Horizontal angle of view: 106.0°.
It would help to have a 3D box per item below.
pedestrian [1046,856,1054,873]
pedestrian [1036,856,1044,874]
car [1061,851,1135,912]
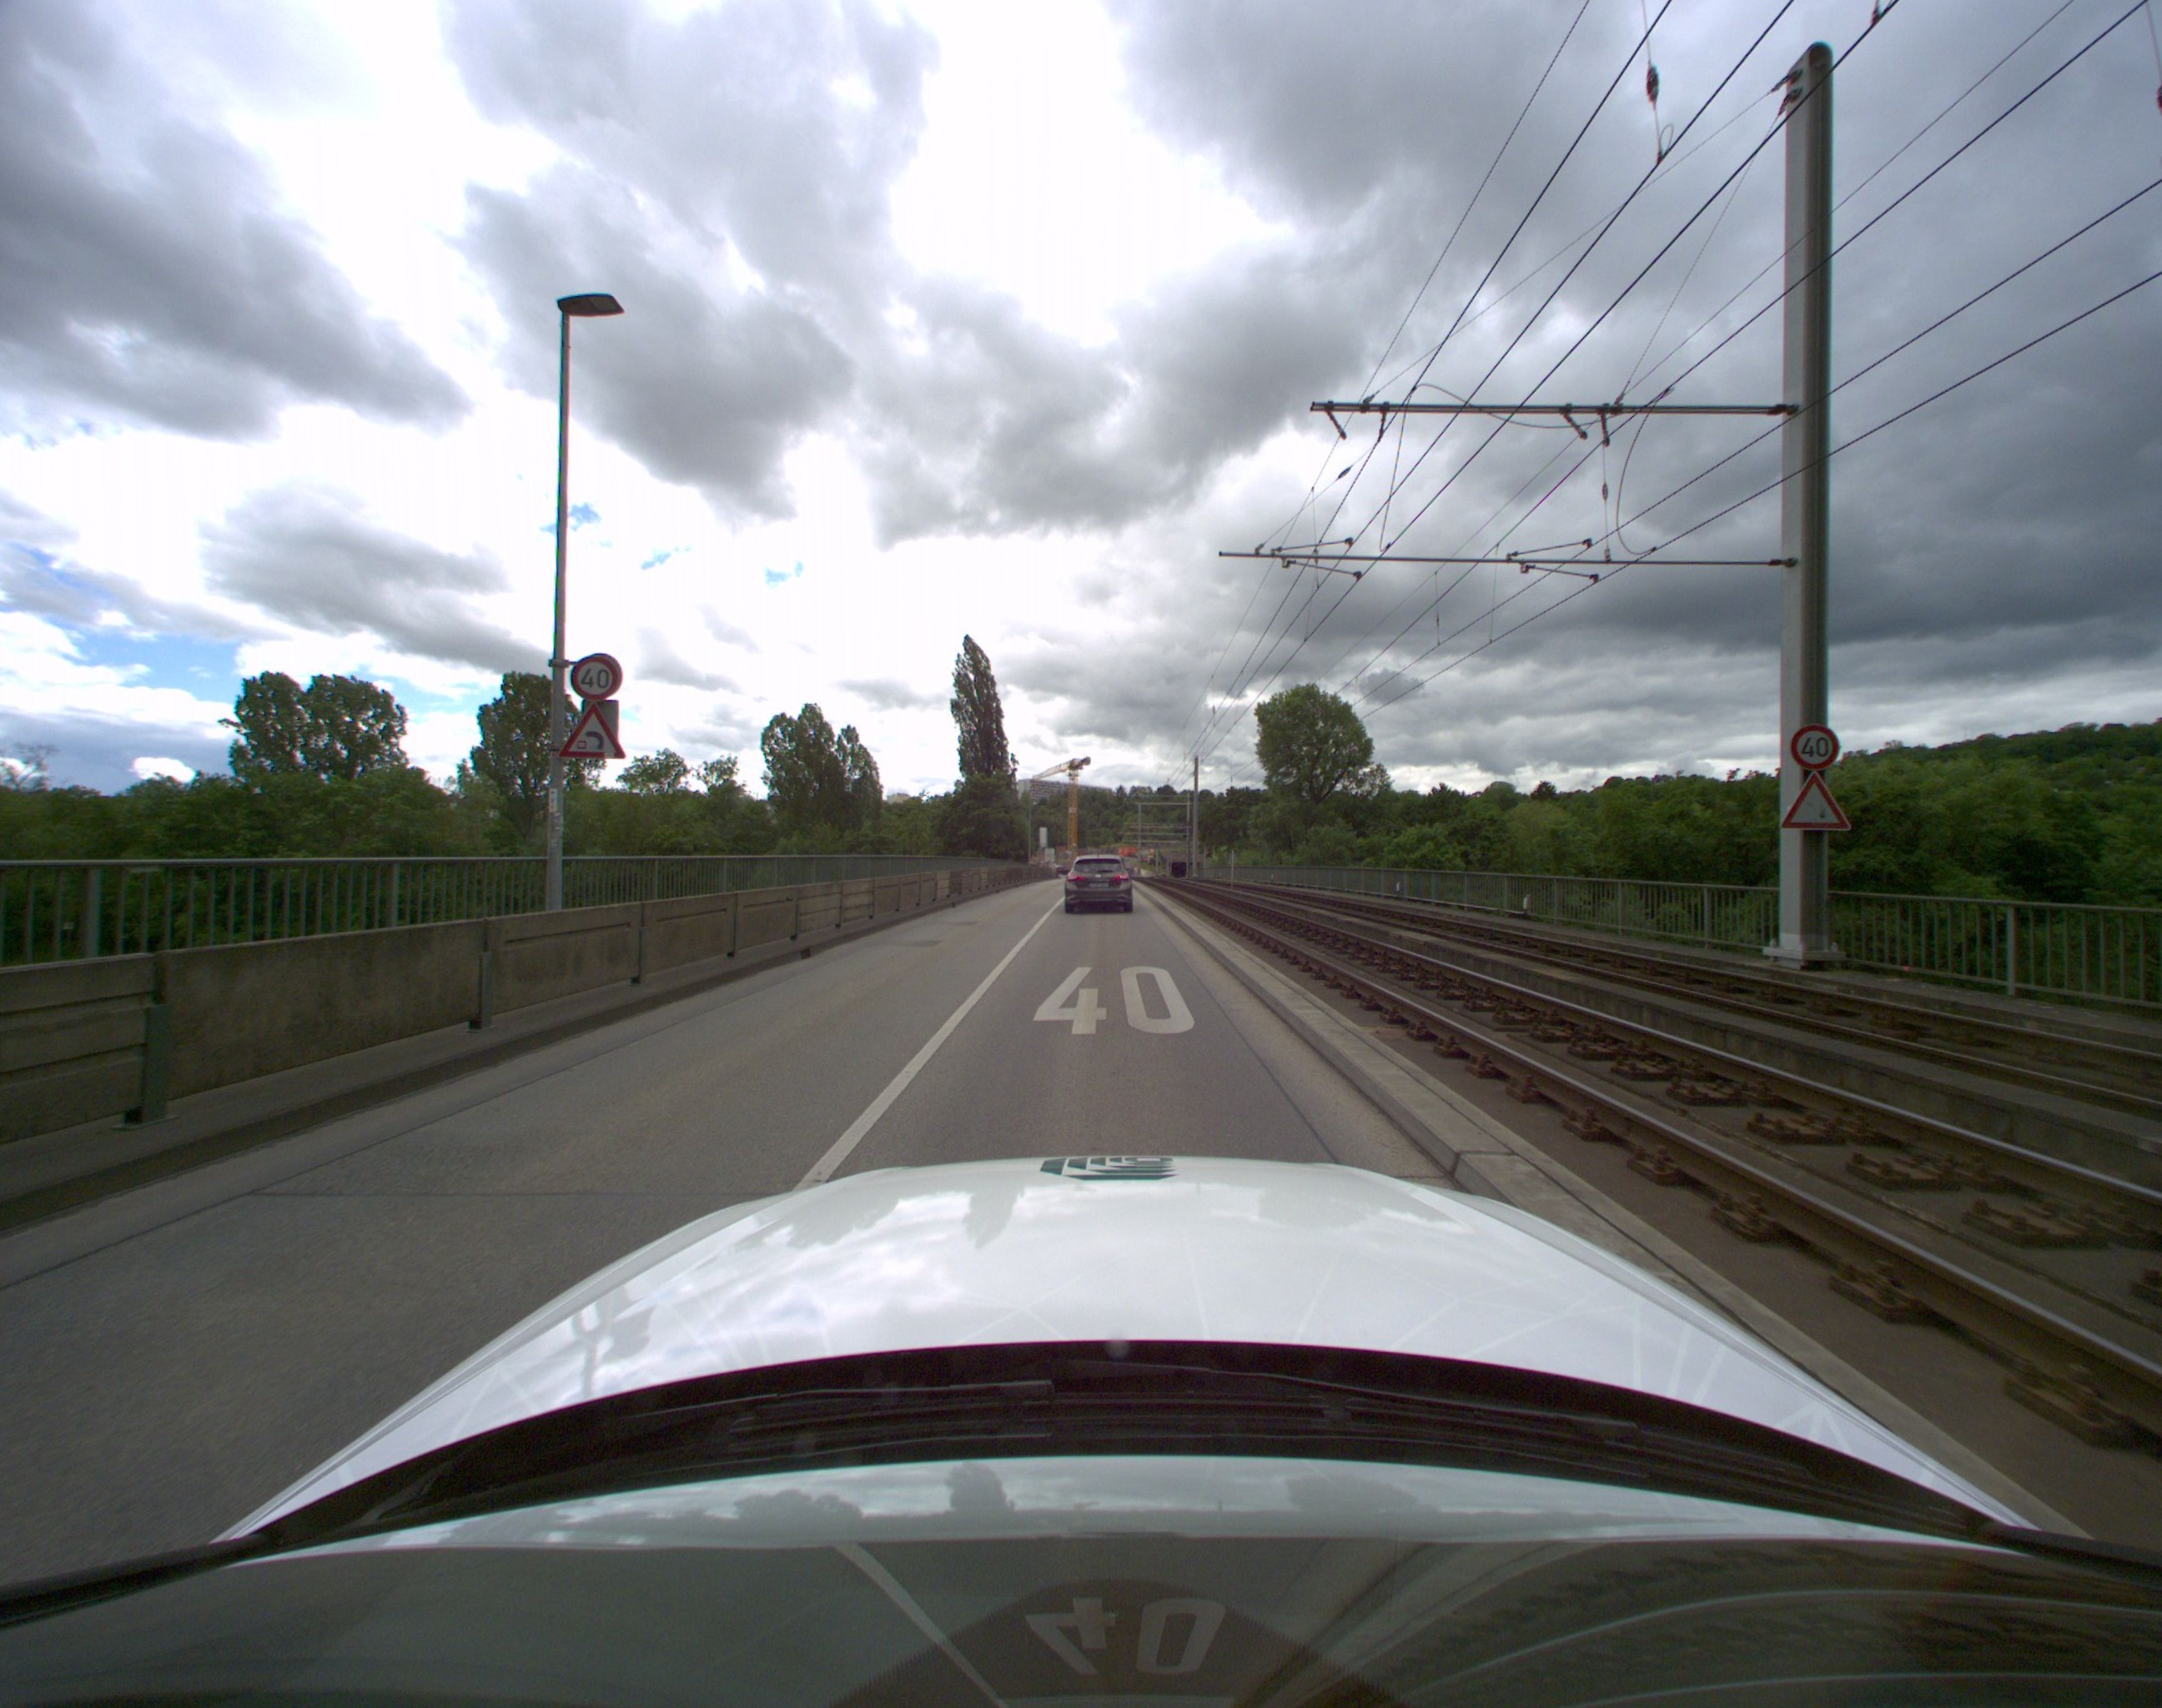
[{"bbox_3d":[-3.136,1.080,83.025,0.718,1.701,0.723,0,-1,1],"label":"pedestrian"},{"bbox_3d":[-4.246,1.149,83.866,0.718,1.840,0.723,0,-2,1],"label":"pedestrian"},{"bbox_3d":[0.380,0.736,22.435,1.825,1.510,3.996,0,-2,-2],"label":"car"}]
